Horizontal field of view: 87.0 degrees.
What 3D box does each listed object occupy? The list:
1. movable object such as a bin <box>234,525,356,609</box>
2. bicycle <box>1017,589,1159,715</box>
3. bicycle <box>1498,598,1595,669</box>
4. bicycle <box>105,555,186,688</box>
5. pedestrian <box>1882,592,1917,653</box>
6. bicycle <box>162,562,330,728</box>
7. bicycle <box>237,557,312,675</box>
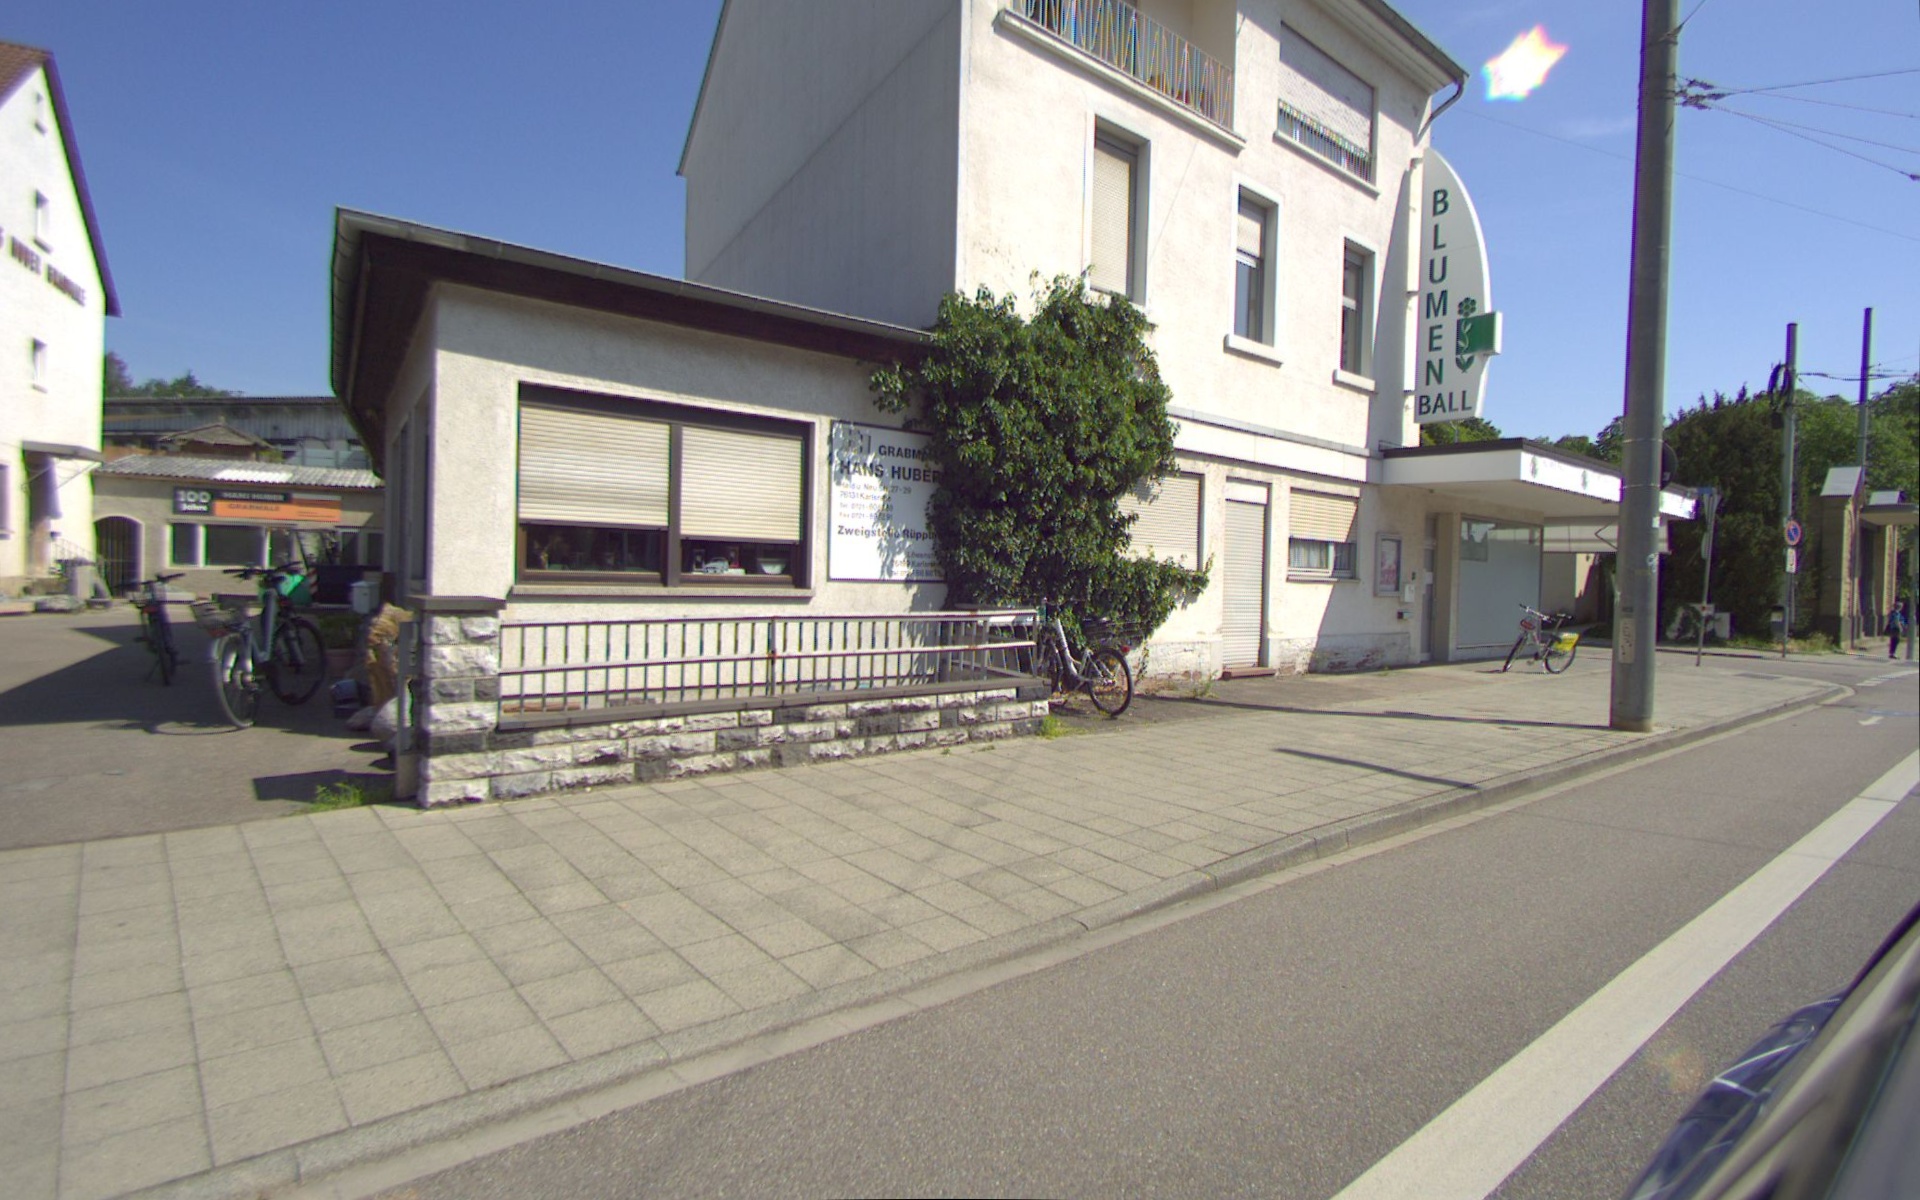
[{"bbox_3d":[-17.671,-0.866,26.958,1.459,2.103,2.276,2,2,21],"label":"movable object such as a bin"},{"bbox_3d":[1.264,0.487,10.293,0.390,1.069,1.531,1,5,-39],"label":"bicycle"},{"bbox_3d":[9.920,0.553,17.102,1.655,1.148,0.513,1,1,-24],"label":"bicycle"},{"bbox_3d":[-7.752,0.158,9.671,0.502,1.124,1.798,1,2,-36],"label":"bicycle"},{"bbox_3d":[25.868,0.615,27.870,0.490,1.646,0.500,1,3,-33],"label":"pedestrian"},{"bbox_3d":[-5.429,0.286,7.798,0.503,1.124,1.695,2,2,-16],"label":"bicycle"},{"bbox_3d":[-7.294,0.134,10.735,0.503,1.124,1.689,1,2,-39],"label":"bicycle"}]
